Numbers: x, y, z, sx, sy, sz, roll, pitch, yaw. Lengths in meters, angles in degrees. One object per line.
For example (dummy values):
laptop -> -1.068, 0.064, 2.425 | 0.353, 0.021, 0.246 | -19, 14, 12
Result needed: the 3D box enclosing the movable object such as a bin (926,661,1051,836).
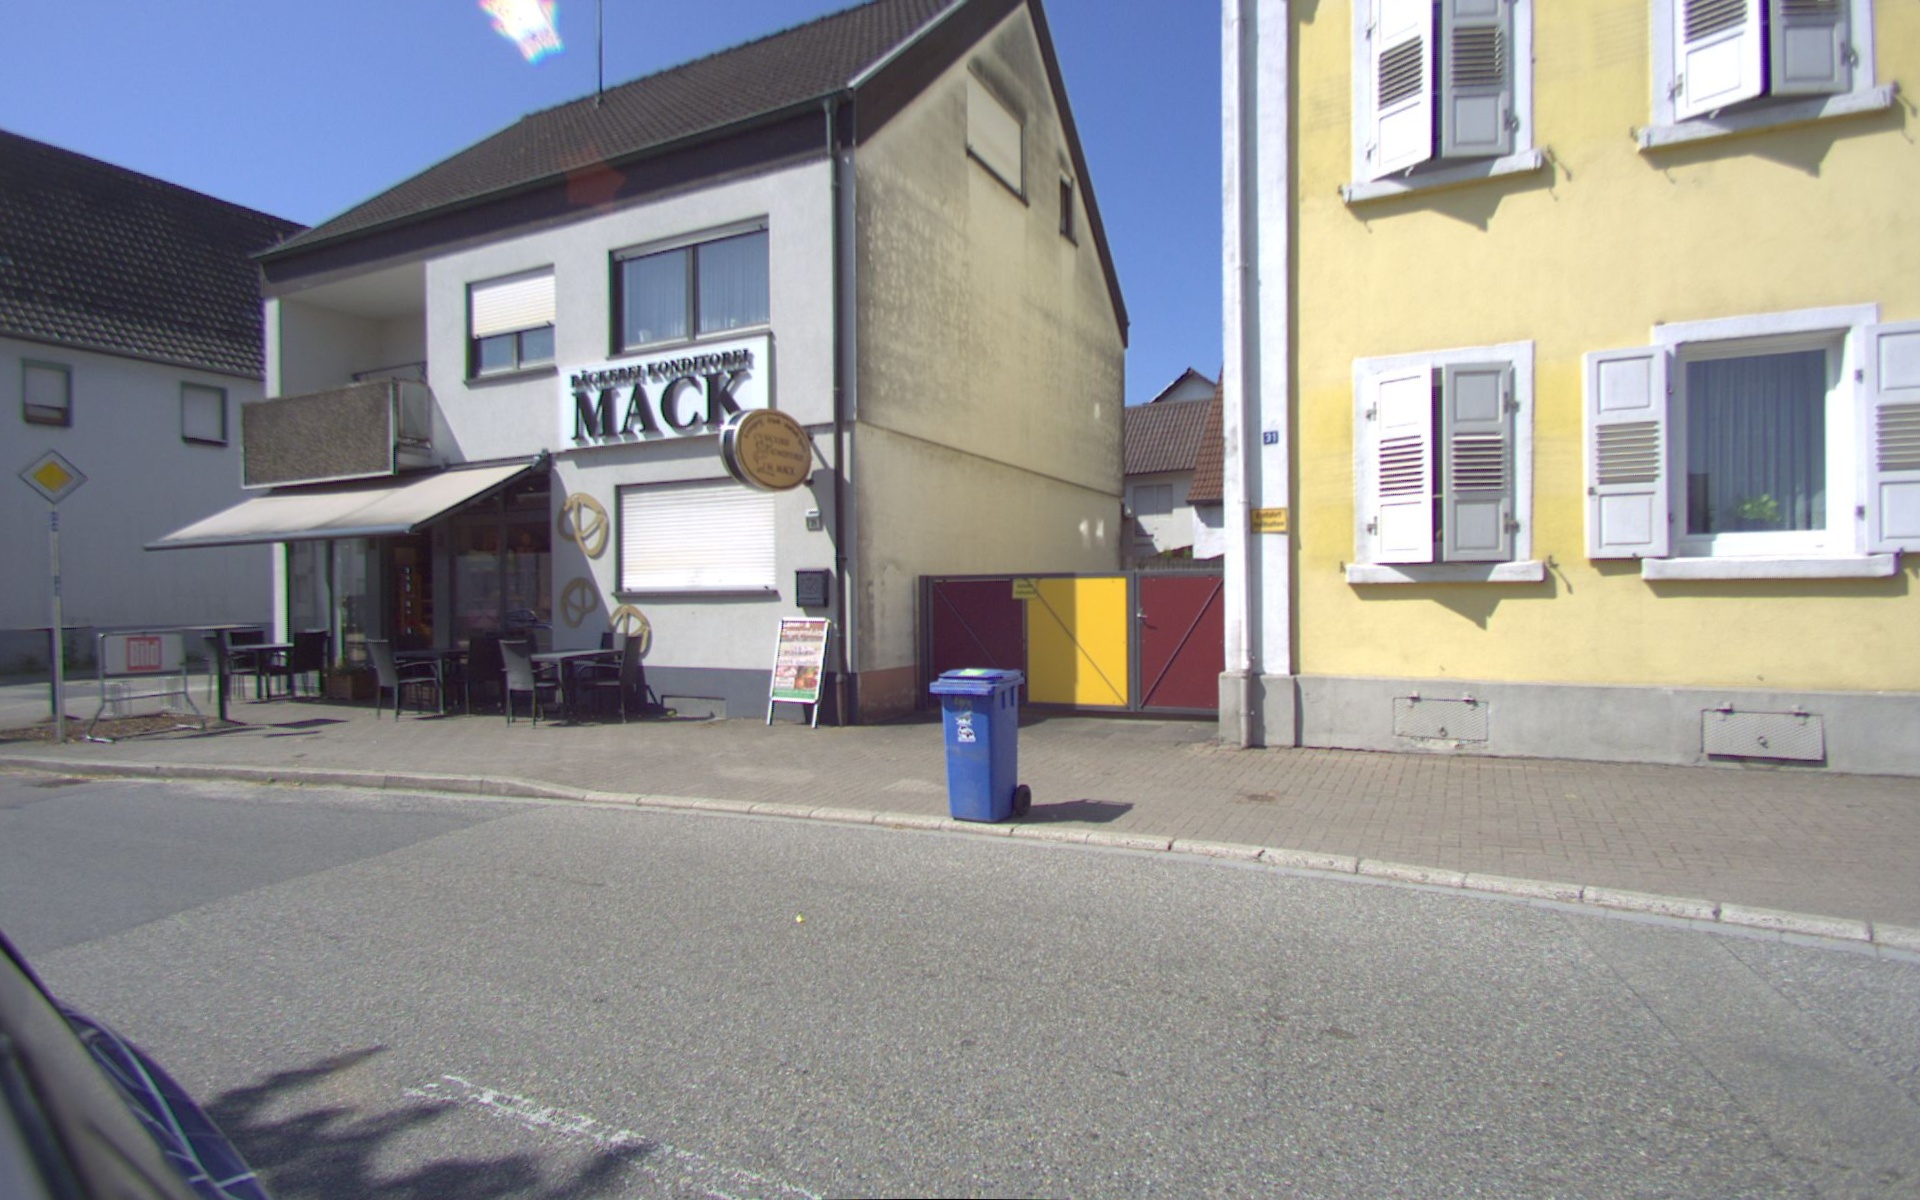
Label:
movable object such as a bin -> 0.193, 0.901, 6.367 | 0.609, 0.988, 0.640 | -1, 0, 19
